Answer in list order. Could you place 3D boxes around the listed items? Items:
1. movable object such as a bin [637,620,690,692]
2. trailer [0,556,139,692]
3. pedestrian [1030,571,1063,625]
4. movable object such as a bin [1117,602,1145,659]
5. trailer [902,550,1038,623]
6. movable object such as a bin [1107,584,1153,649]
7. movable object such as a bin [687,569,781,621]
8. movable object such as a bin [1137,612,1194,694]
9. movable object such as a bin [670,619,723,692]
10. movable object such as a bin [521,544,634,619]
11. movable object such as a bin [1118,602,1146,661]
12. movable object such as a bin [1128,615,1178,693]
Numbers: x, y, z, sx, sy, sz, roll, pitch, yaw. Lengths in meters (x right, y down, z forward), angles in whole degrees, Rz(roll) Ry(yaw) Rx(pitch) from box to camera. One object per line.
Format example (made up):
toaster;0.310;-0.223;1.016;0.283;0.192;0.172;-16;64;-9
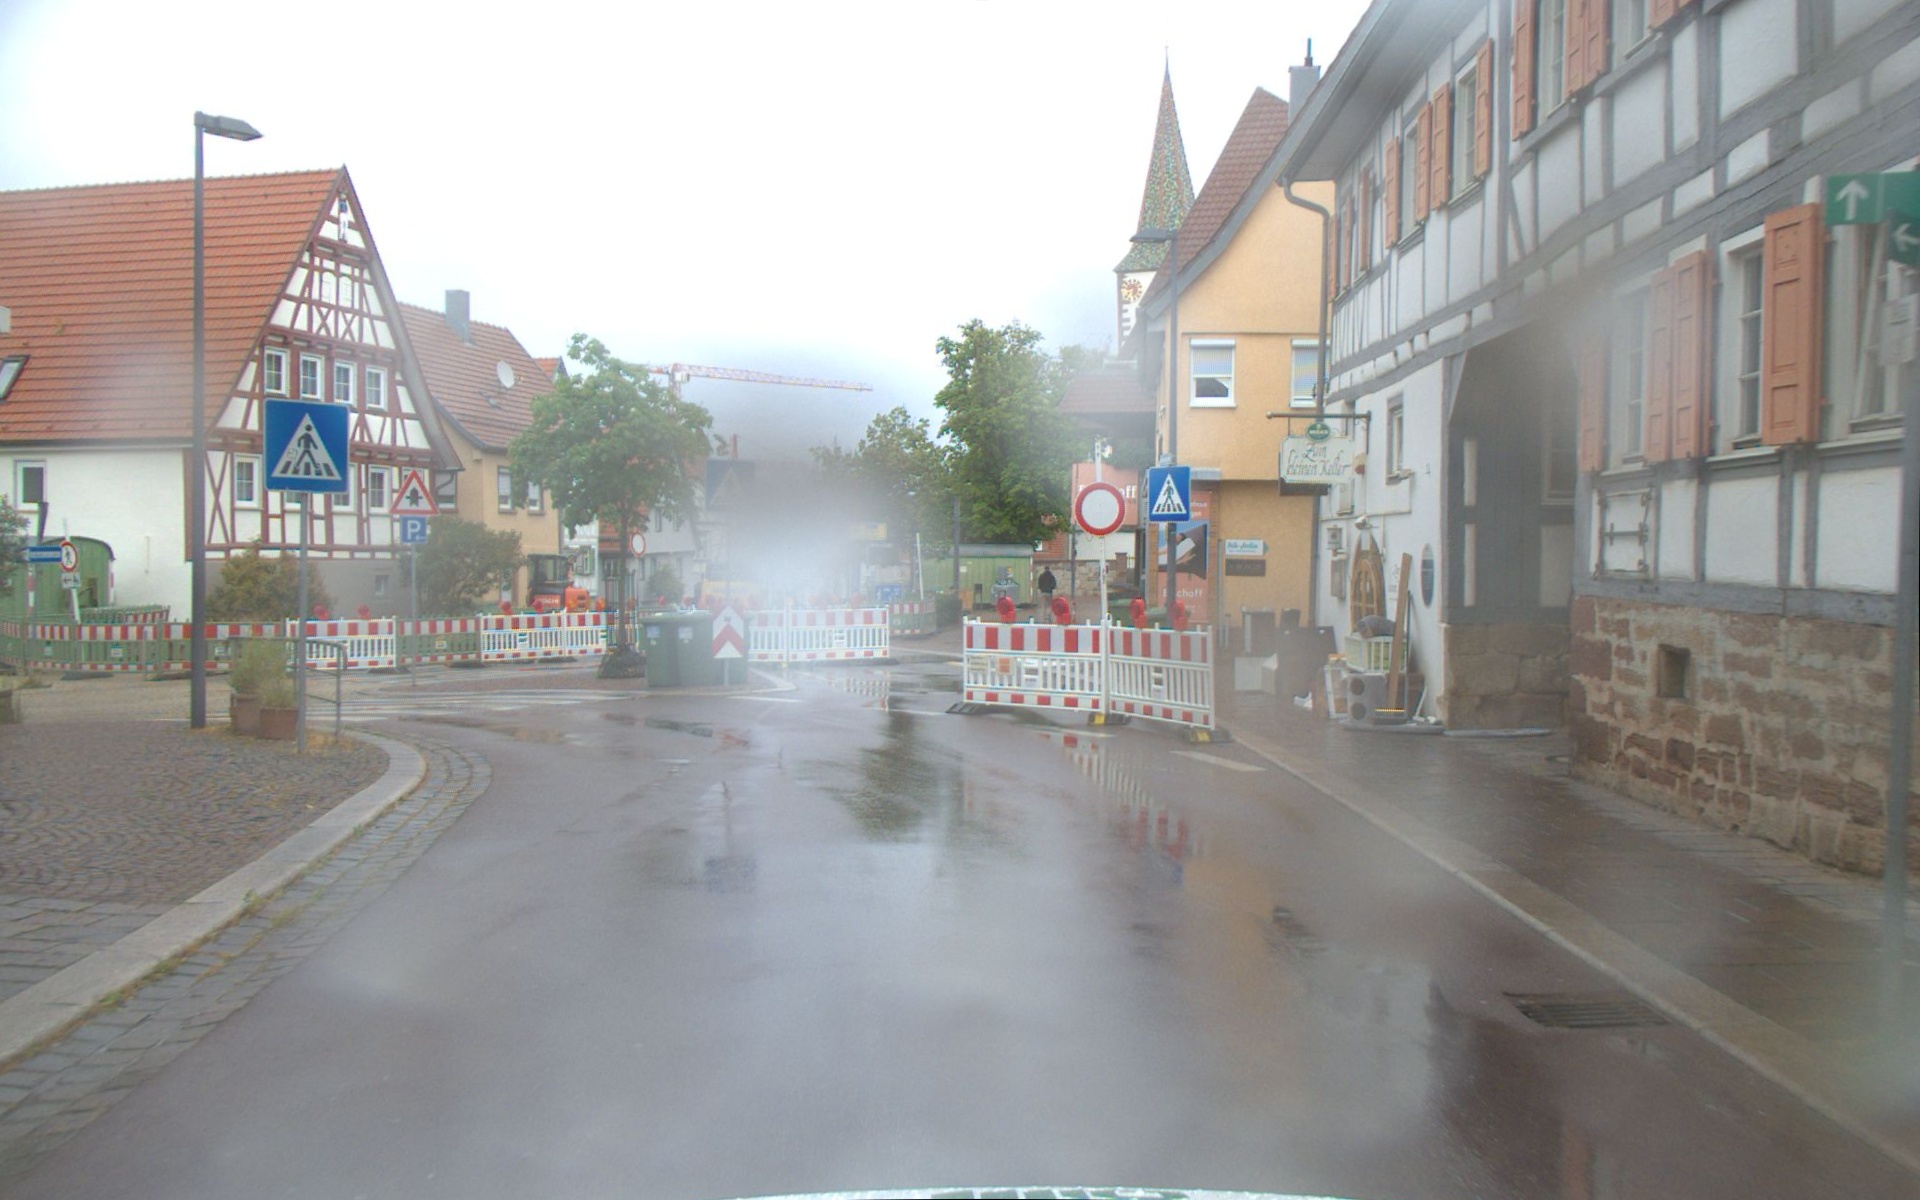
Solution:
movable object such as a bin;-4.384;0.830;24.478;0.530;1.055;0.570;-2;-2;33
trailer;-21.294;0.498;37.236;4.519;2.886;2.494;1;-1;17
pedestrian;2.905;-0.055;55.491;0.971;1.789;0.850;1;-1;-6
movable object such as a bin;3.555;0.627;34.415;0.505;1.148;0.580;-3;1;3
trailer;0.403;-0.569;71.172;5.668;2.999;1.998;1;-1;-5
movable object such as a bin;4.176;0.396;40.555;1.042;1.539;1.243;-3;0;8
movable object such as a bin;-9.430;-0.188;69.423;3.332;2.049;3.479;1;0;1
movable object such as a bin;2.825;0.720;22.761;0.665;1.084;0.539;-1;0;-7
movable object such as a bin;-3.845;0.812;24.135;0.533;1.051;0.533;-2;-2;33
movable object such as a bin;-11.228;-0.510;48.841;1.864;2.049;4.003;-2;-1;9
movable object such as a bin;3.510;0.641;33.808;0.507;1.151;0.580;-3;1;3
movable object such as a bin;2.742;0.761;23.452;0.603;1.084;0.540;-1;-1;17
